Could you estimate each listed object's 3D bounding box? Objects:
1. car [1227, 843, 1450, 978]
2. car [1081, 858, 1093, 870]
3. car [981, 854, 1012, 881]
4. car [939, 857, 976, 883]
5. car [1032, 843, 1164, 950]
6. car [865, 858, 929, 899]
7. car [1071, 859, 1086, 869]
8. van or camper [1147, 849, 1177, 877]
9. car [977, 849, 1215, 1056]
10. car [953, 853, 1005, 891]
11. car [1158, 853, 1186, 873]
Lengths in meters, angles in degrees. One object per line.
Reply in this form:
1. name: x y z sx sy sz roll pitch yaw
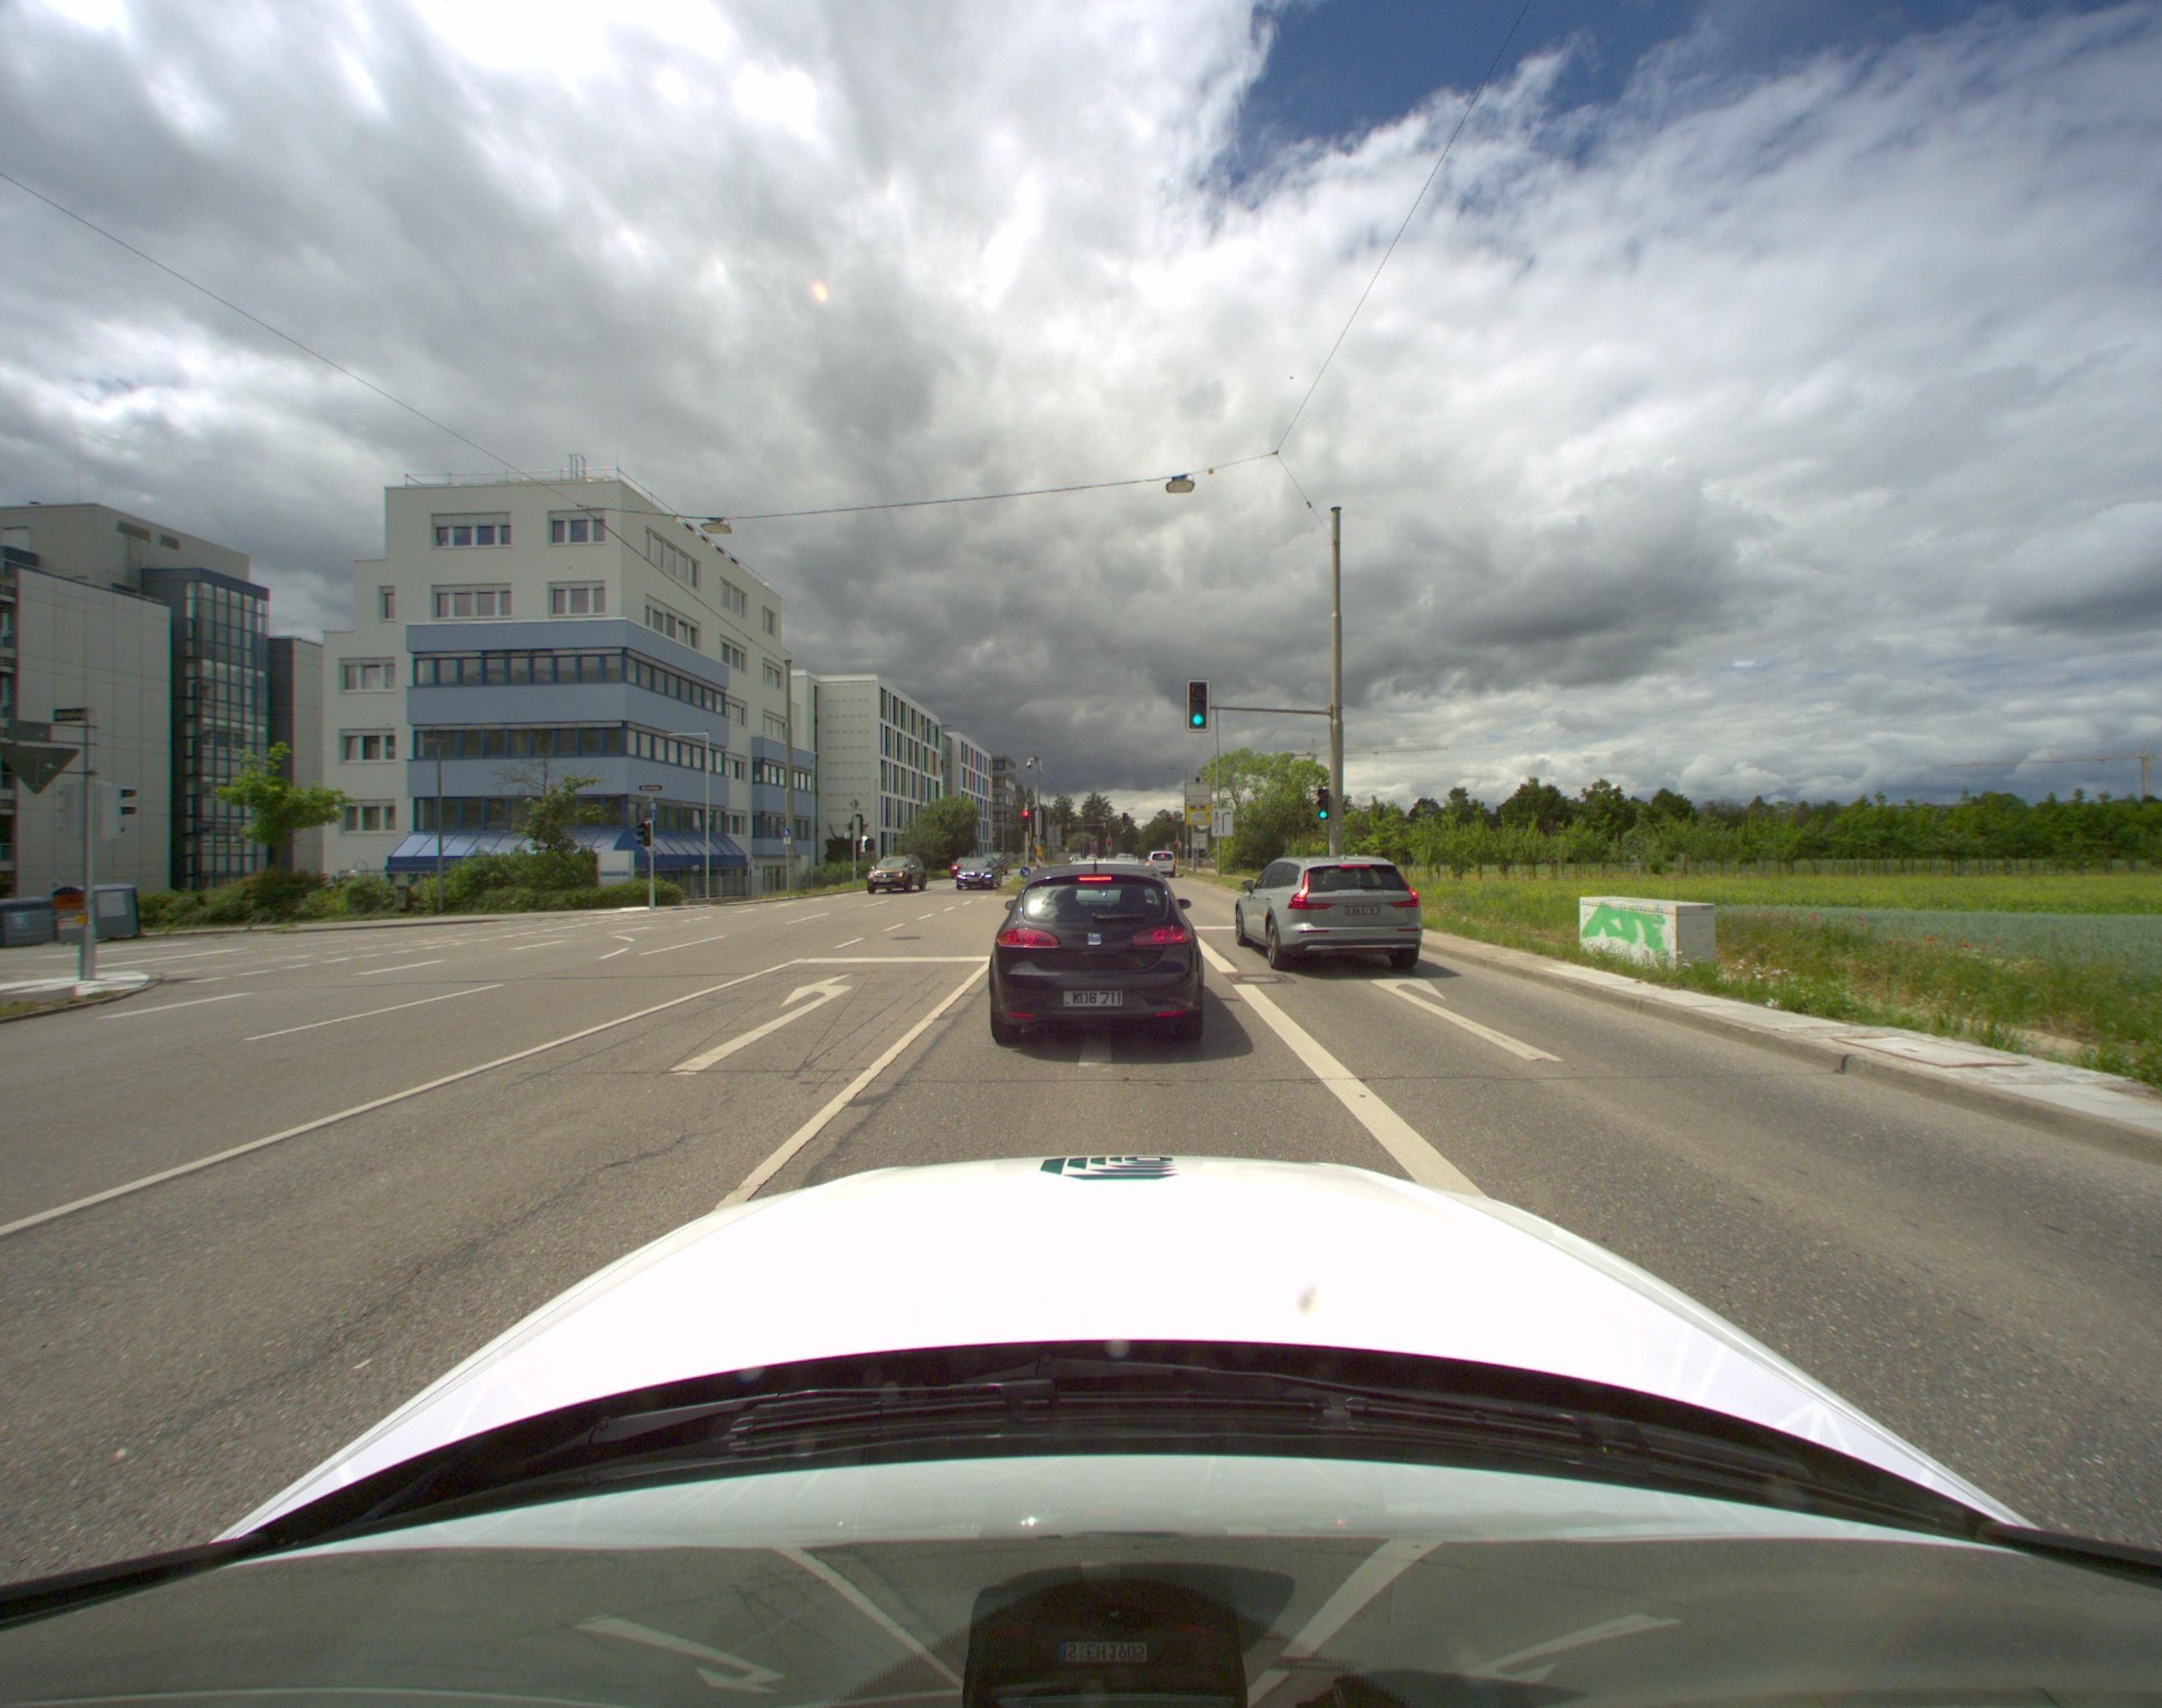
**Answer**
1. car: 3.451 0.701 11.866 1.951 1.525 4.341 -2 -1 2
2. car: 1.119 1.677 141.355 1.986 2.014 4.001 -1 -1 2
3. car: -6.637 1.050 64.349 1.987 2.014 4.479 -1 -1 -1
4. car: -8.181 1.039 54.267 1.769 1.612 4.001 -1 -1 1
5. car: 0.300 0.662 14.331 1.976 1.590 4.226 0 -1 1
6. car: -8.046 1.037 36.004 1.744 1.631 4.001 -3 0 2
7. car: -0.385 1.444 120.518 1.986 1.409 4.001 -1 -1 2
8. van or camper: 5.859 0.637 59.058 1.892 1.926 4.002 -1 -1 2
9. car: 0.286 0.732 7.962 1.739 1.484 4.006 0 -1 5
10. car: -4.640 0.780 37.482 1.662 1.524 4.010 -3 1 2
11. car: 7.028 0.691 63.485 1.839 1.461 4.057 -1 -1 2
